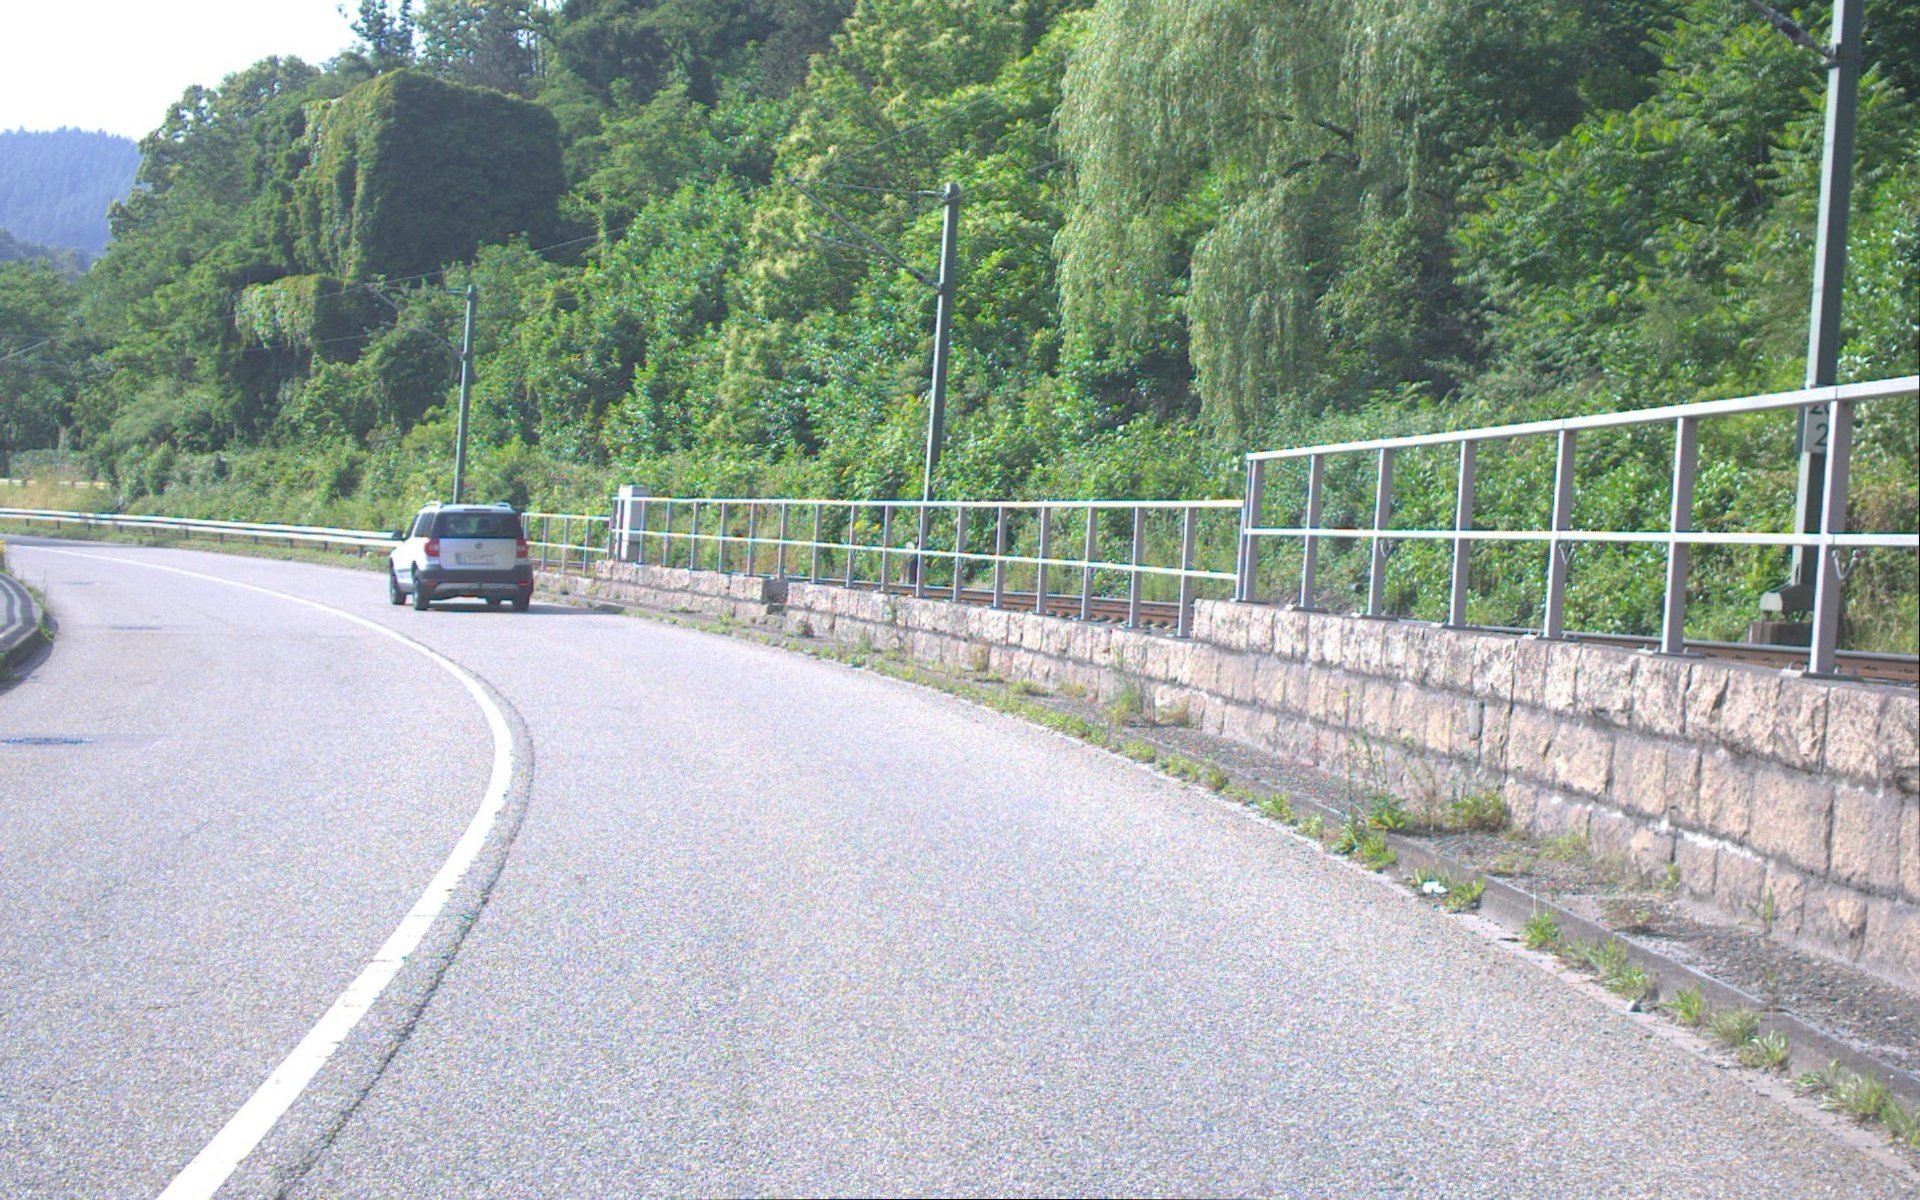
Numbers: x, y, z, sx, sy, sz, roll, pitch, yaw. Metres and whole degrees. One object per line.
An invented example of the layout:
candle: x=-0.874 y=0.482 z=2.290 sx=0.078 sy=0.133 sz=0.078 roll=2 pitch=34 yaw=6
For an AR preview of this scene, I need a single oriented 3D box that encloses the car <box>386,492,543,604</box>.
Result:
car: x=-7.783 y=-0.846 z=53.764 sx=1.872 sy=1.650 sz=4.002 roll=1 pitch=2 yaw=-16
